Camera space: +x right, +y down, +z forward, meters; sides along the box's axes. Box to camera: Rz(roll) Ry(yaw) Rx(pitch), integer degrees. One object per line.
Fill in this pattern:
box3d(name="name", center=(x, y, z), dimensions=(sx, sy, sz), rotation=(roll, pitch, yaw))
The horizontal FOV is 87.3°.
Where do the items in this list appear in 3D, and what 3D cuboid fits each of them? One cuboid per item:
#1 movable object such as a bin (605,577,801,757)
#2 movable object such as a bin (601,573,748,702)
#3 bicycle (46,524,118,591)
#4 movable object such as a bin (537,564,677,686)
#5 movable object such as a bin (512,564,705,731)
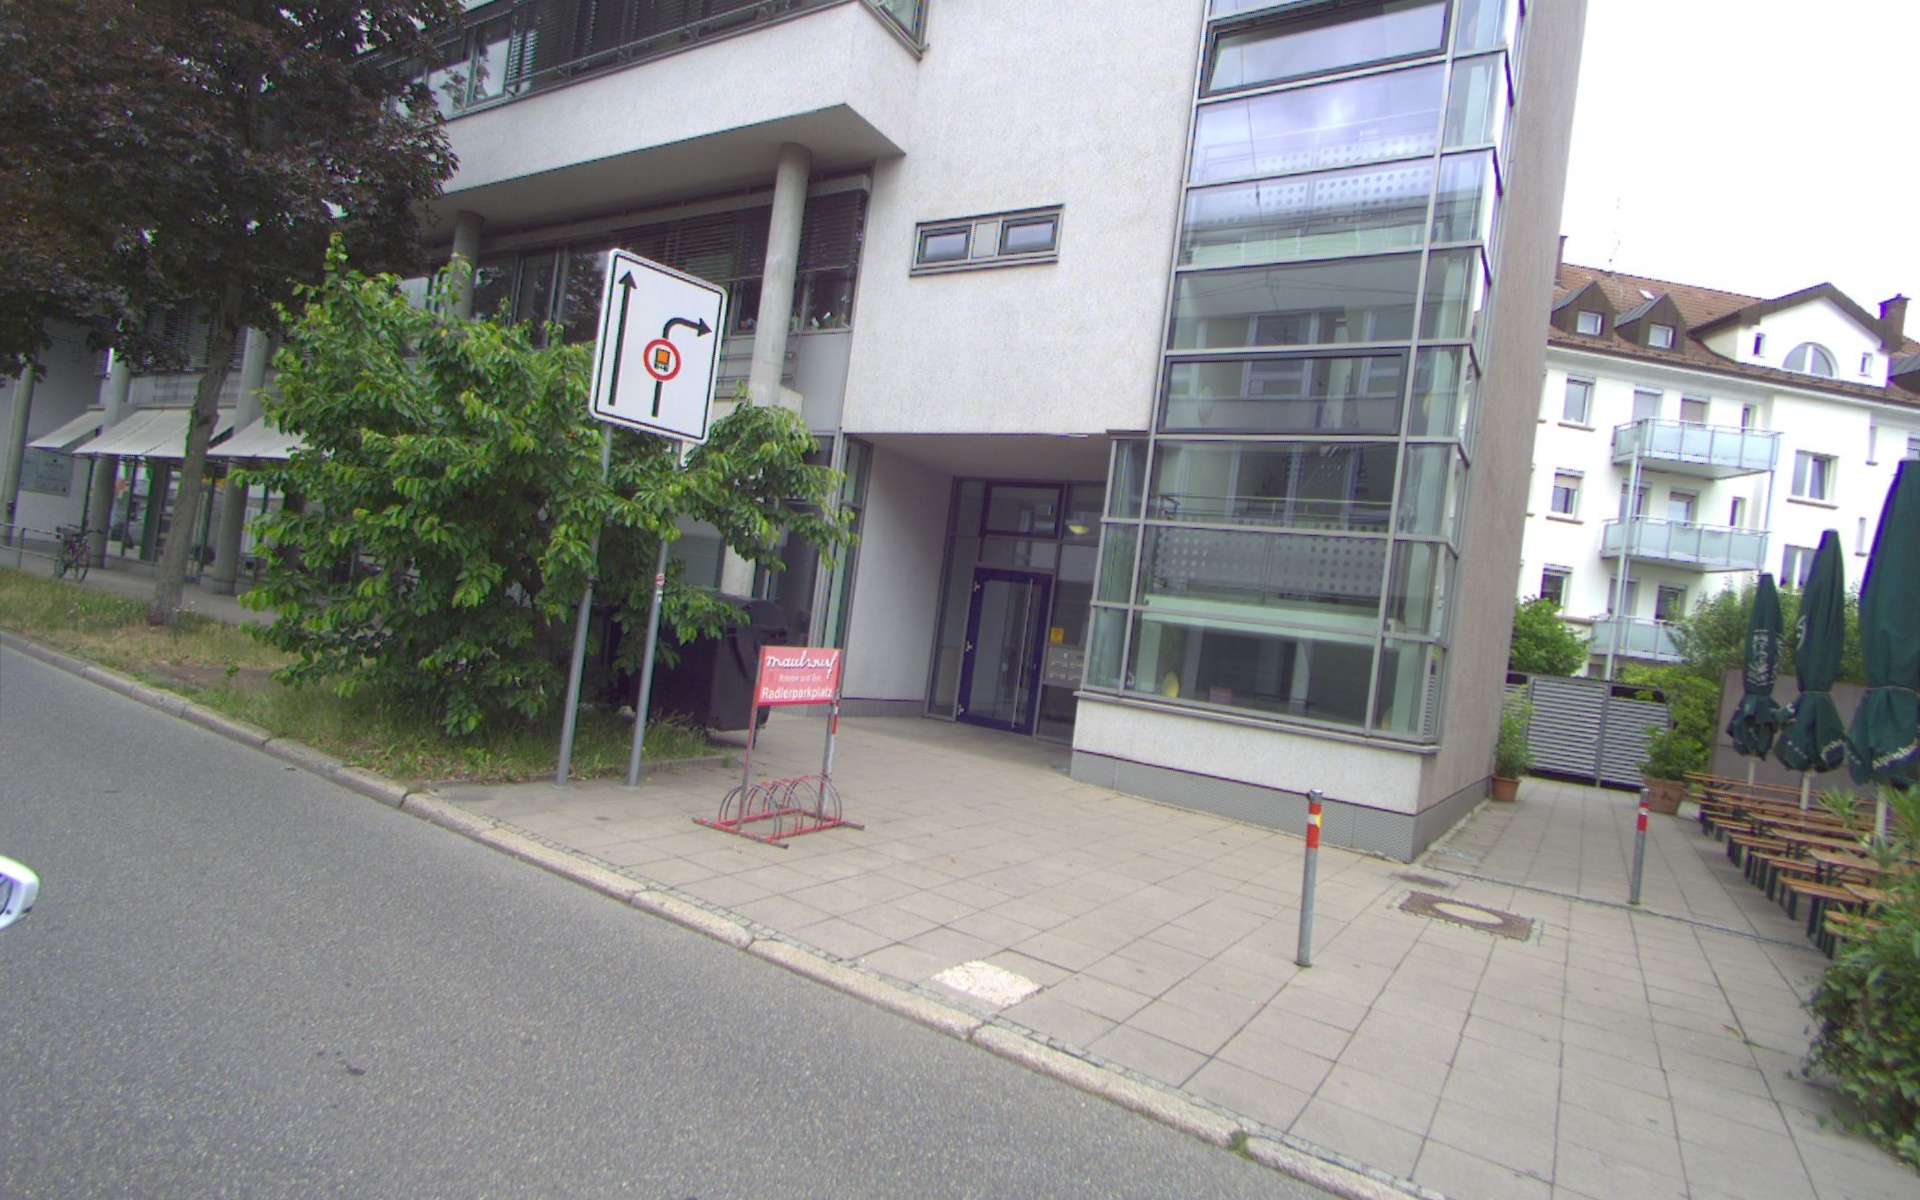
box3d(name="movable object such as a bin", center=(-2.475, 0.624, 9.723), dimensions=(1.311, 1.484, 1.099), rotation=(7, 0, 31))
box3d(name="movable object such as a bin", center=(-3.722, 0.490, 13.167), dimensions=(1.311, 1.484, 1.123), rotation=(7, 0, 31))
box3d(name="bicycle", center=(-17.175, -0.845, 19.654), dimensions=(1.993, 1.099, 0.361), rotation=(7, -2, 31))
box3d(name="movable object such as a bin", center=(-4.857, 0.357, 13.864), dimensions=(1.311, 1.484, 1.099), rotation=(7, 0, 31))
box3d(name="movable object such as a bin", center=(-3.627, 0.480, 10.412), dimensions=(1.389, 1.484, 1.128), rotation=(7, 0, 31))
